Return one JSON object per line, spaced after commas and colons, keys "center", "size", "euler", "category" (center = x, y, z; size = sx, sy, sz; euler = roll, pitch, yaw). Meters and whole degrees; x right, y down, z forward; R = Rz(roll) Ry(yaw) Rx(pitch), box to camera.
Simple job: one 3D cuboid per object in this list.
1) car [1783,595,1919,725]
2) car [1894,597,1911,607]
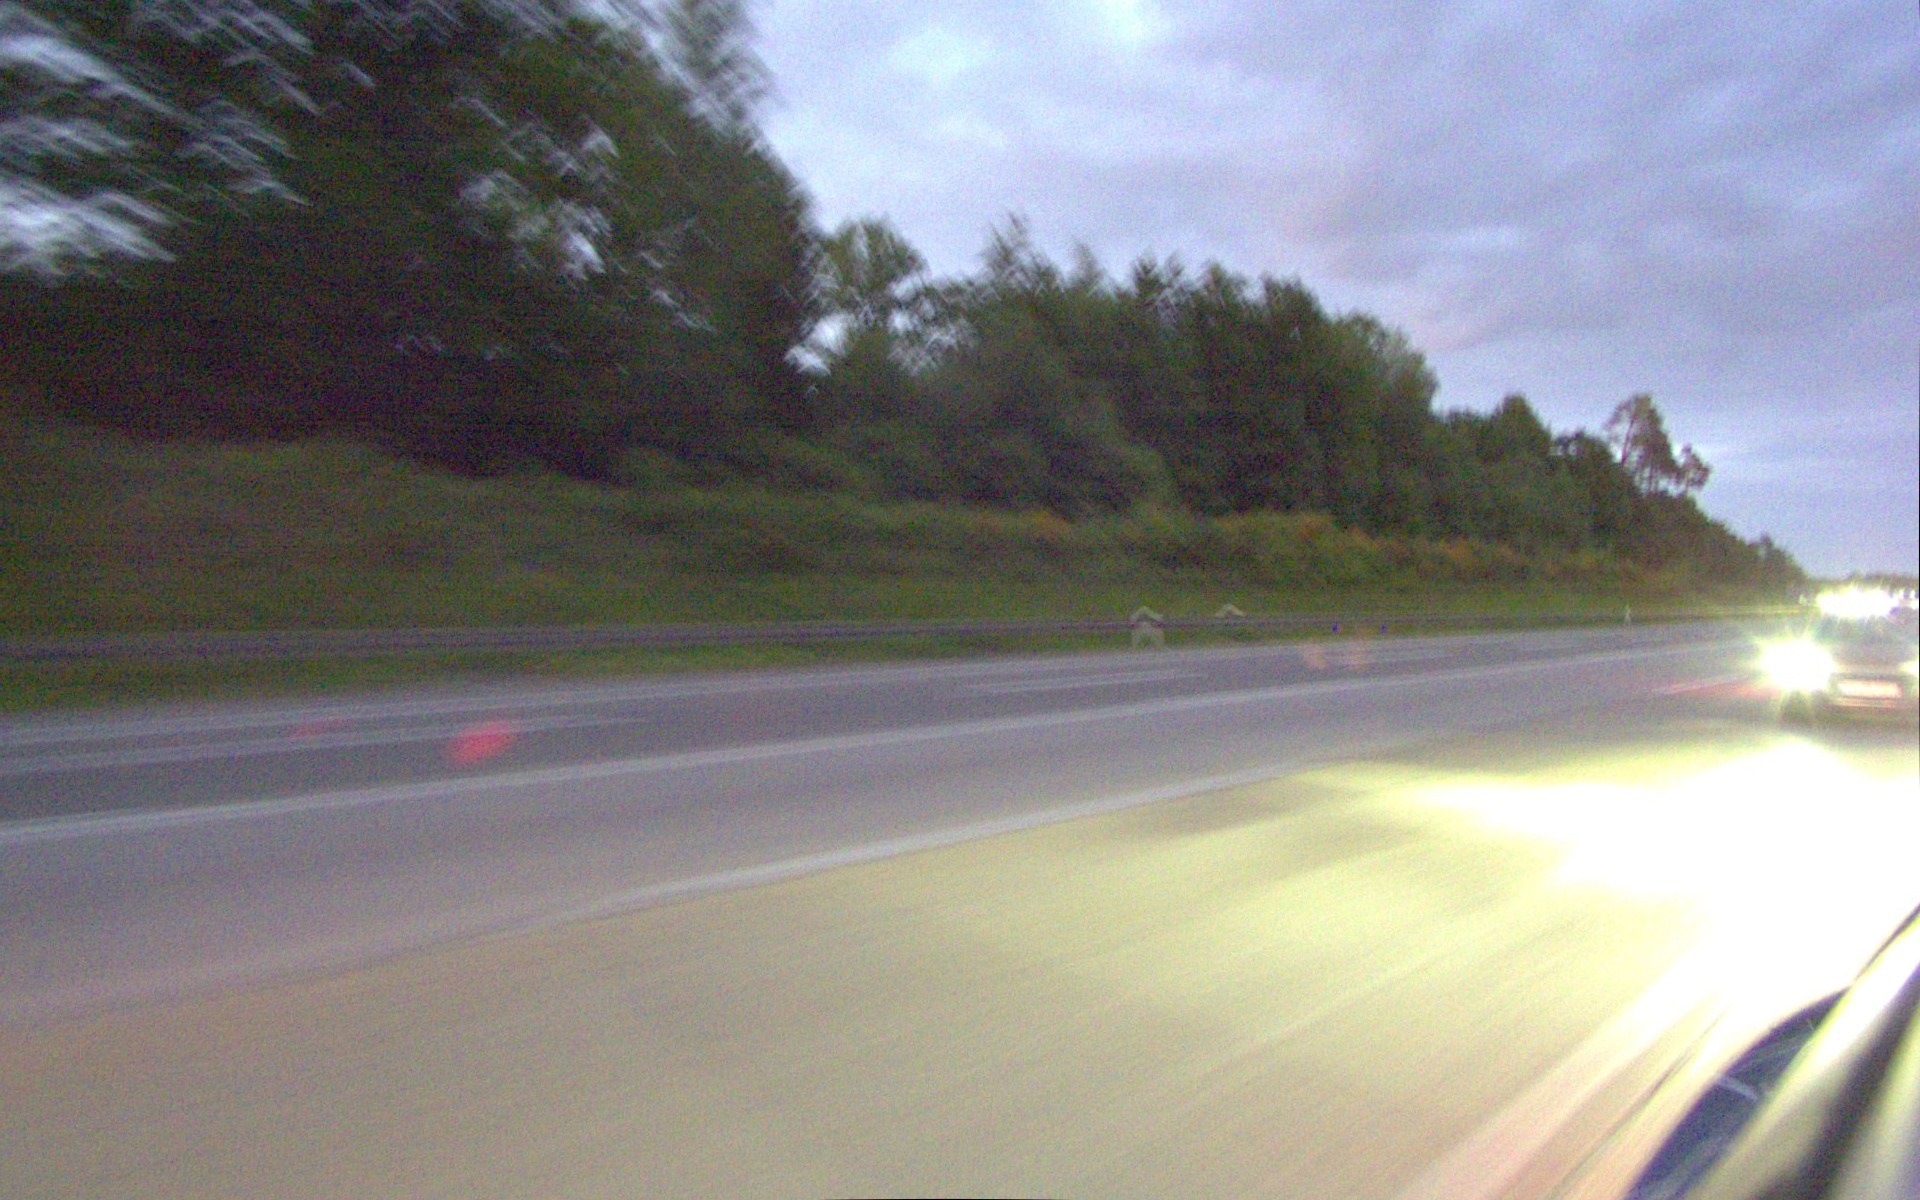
{"center": [12.223, 0.684, 13.163], "size": [4.377, 1.461, 1.876], "euler": [0, 0, -44], "category": "car"}
{"center": [157.695, 0.357, 169.331], "size": [1.994, 1.568, 3.935], "euler": [1, 0, 45], "category": "car"}
